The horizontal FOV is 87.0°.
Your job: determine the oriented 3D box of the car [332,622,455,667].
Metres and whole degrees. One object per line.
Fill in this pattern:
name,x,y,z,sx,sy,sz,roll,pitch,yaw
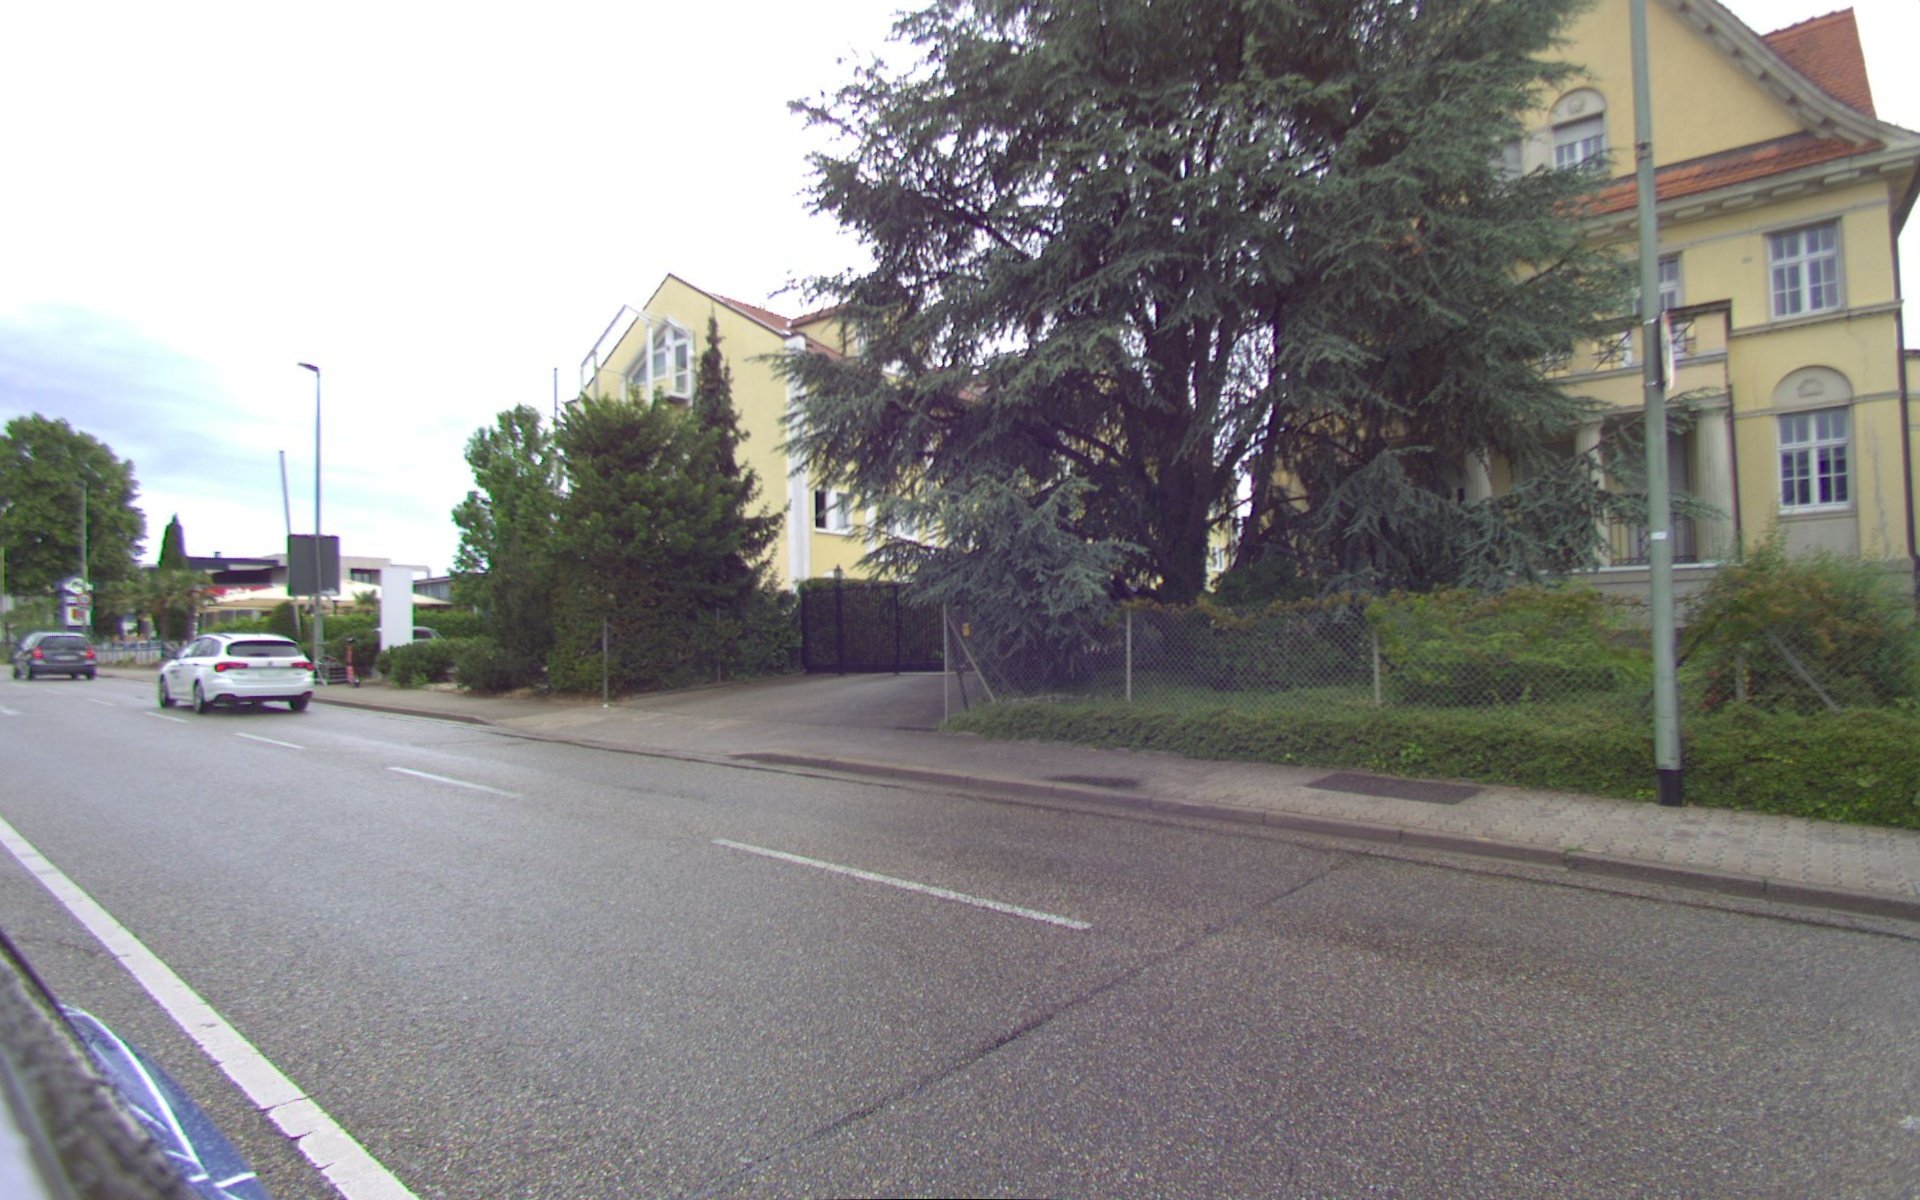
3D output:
car,-21.923,1.691,39.244,3.876,1.664,1.720,1,-2,-44

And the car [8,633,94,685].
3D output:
car,-30.608,1.938,34.047,3.547,1.611,1.682,-2,-2,41

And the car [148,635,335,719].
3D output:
car,-14.241,1.427,19.979,4.305,1.465,1.948,-1,-2,40

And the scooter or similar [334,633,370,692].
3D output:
scooter or similar,-15.317,1.539,25.474,0.498,1.416,1.884,1,-2,-39
